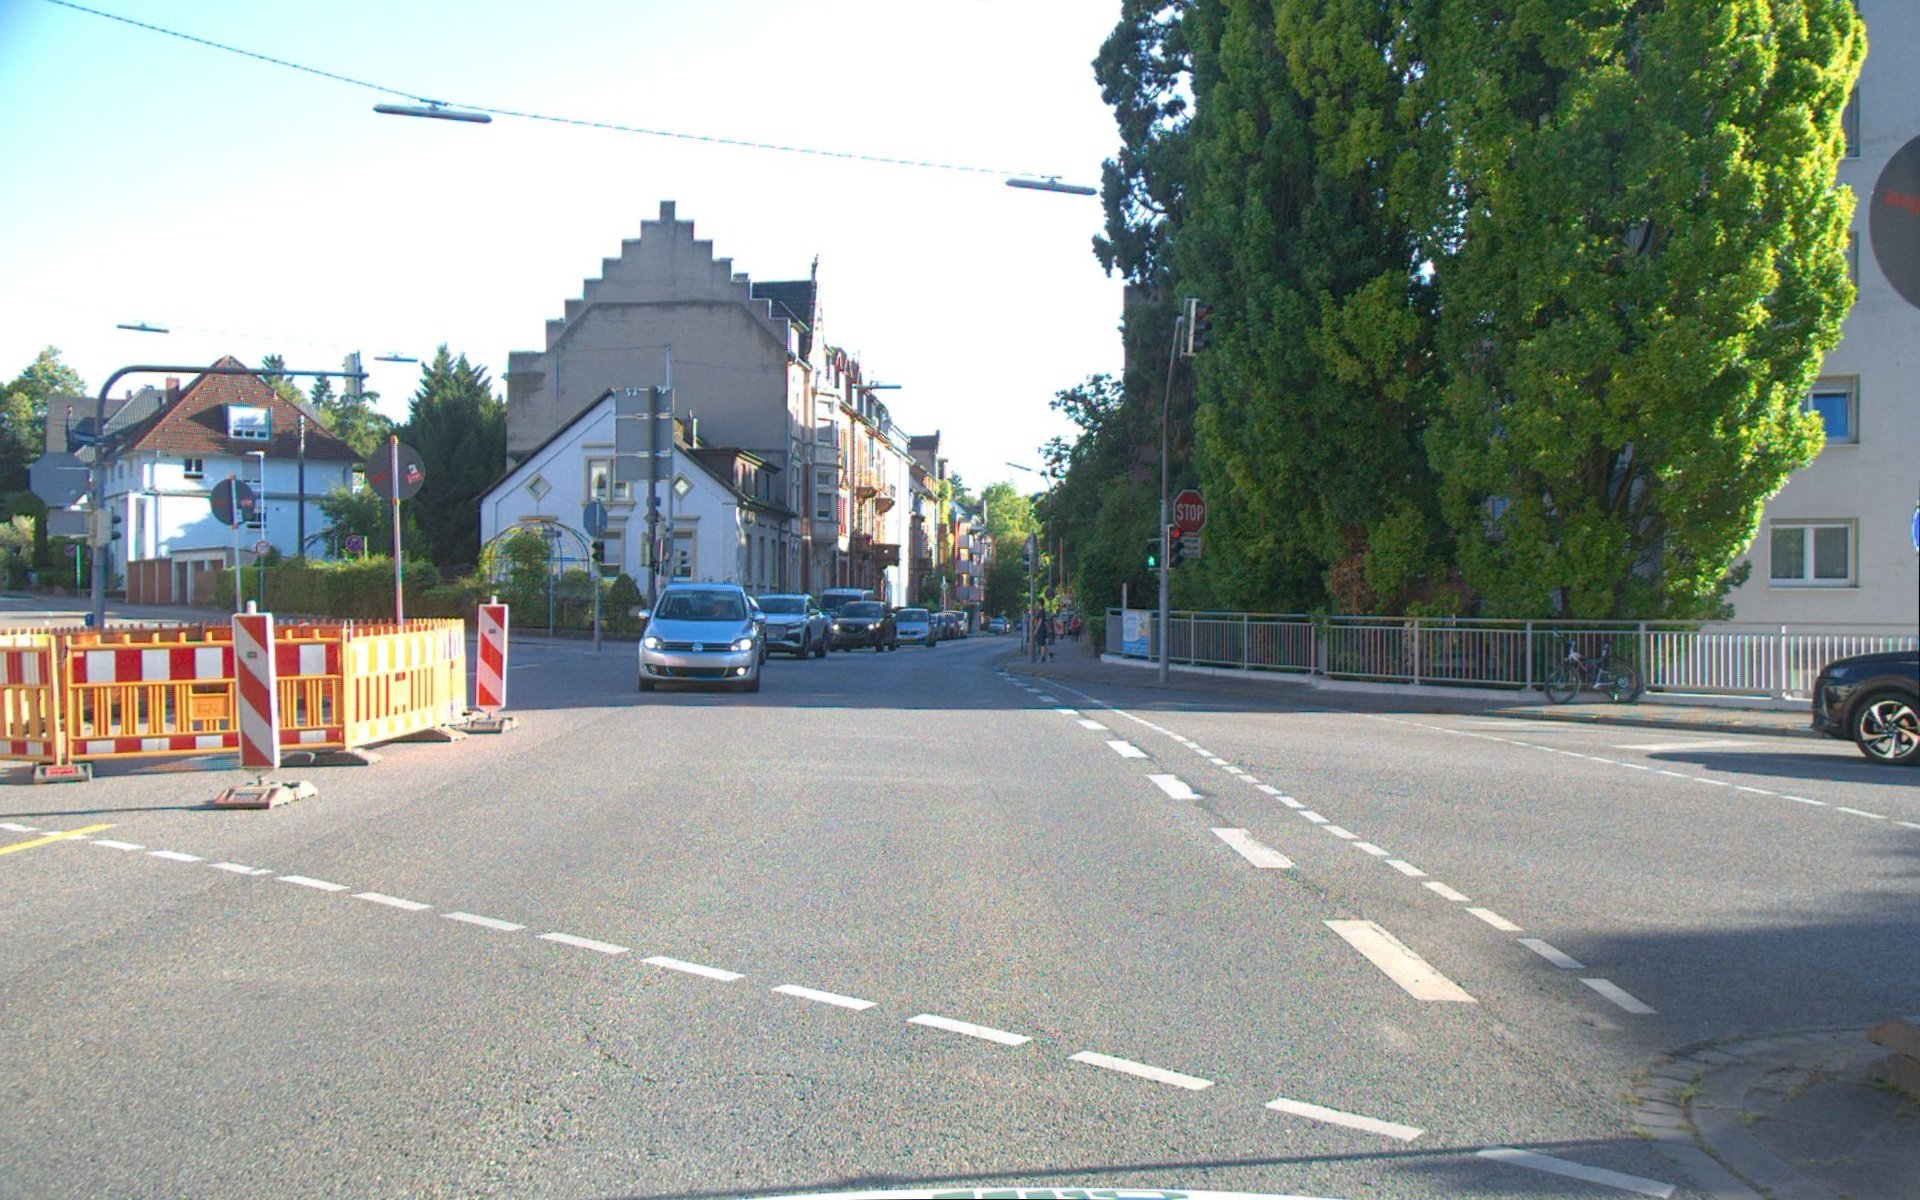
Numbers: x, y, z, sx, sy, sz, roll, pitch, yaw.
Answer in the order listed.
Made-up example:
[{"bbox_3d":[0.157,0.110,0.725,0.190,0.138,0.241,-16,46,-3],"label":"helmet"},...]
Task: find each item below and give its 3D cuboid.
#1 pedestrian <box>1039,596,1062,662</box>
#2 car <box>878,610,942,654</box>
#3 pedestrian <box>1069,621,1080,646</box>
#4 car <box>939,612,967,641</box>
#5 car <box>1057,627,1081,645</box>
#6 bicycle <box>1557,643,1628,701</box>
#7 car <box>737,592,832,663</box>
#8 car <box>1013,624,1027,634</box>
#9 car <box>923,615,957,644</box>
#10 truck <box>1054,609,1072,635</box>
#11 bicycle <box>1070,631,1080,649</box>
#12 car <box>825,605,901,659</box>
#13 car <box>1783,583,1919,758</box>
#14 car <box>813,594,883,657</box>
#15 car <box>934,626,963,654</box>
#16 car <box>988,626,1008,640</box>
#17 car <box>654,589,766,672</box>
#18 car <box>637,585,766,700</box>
[{"bbox_3d":[2.401,0.751,43.731,0.589,1.723,0.612,-1,0,3],"label":"pedestrian"},{"bbox_3d":[-2.029,1.284,68.635,1.912,1.677,4.287,1,0,8],"label":"car"},{"bbox_3d":[6.628,1.948,95.606,0.585,1.427,0.668,1,0,3],"label":"pedestrian"},{"bbox_3d":[-0.493,1.924,121.404,1.755,2.045,4.699,1,-1,3],"label":"car"},{"bbox_3d":[9.891,3.223,149.925,1.951,1.544,4.003,0,0,6],"label":"car"},{"bbox_3d":[10.471,1.187,27.376,1.271,0.919,0.405,1,0,-32],"label":"bicycle"},{"bbox_3d":[-4.455,0.656,42.504,1.738,1.677,4.536,1,0,2],"label":"car"},{"bbox_3d":[9.037,4.344,249.169,1.951,1.518,4.473,0,0,4],"label":"car"},{"bbox_3d":[-1.235,1.860,104.401,1.666,1.737,4.443,1,-1,5],"label":"car"},{"bbox_3d":[11.933,2.556,191.195,1.951,2.947,4.472,0,0,4],"label":"truck"},{"bbox_3d":[6.596,2.286,95.010,0.554,0.987,0.492,1,0,1],"label":"bicycle"},{"bbox_3d":[-3.198,1.030,55.198,1.912,1.677,4.286,1,0,5],"label":"car"},{"bbox_3d":[10.745,0.752,16.017,1.985,1.699,4.588,5,-3,-44],"label":"car"},{"bbox_3d":[-4.690,1.081,70.275,2.024,2.503,6.017,1,-1,5],"label":"car"},{"bbox_3d":[-0.762,2.667,110.732,1.667,1.769,3.858,1,-1,3],"label":"car"},{"bbox_3d":[4.226,3.630,182.715,1.951,1.518,4.473,0,0,4],"label":"car"},{"bbox_3d":[-4.951,0.564,33.258,1.740,1.506,4.094,1,0,-2],"label":"car"},{"bbox_3d":[-3.862,0.584,25.041,1.742,1.570,3.993,1,0,-8],"label":"car"}]
